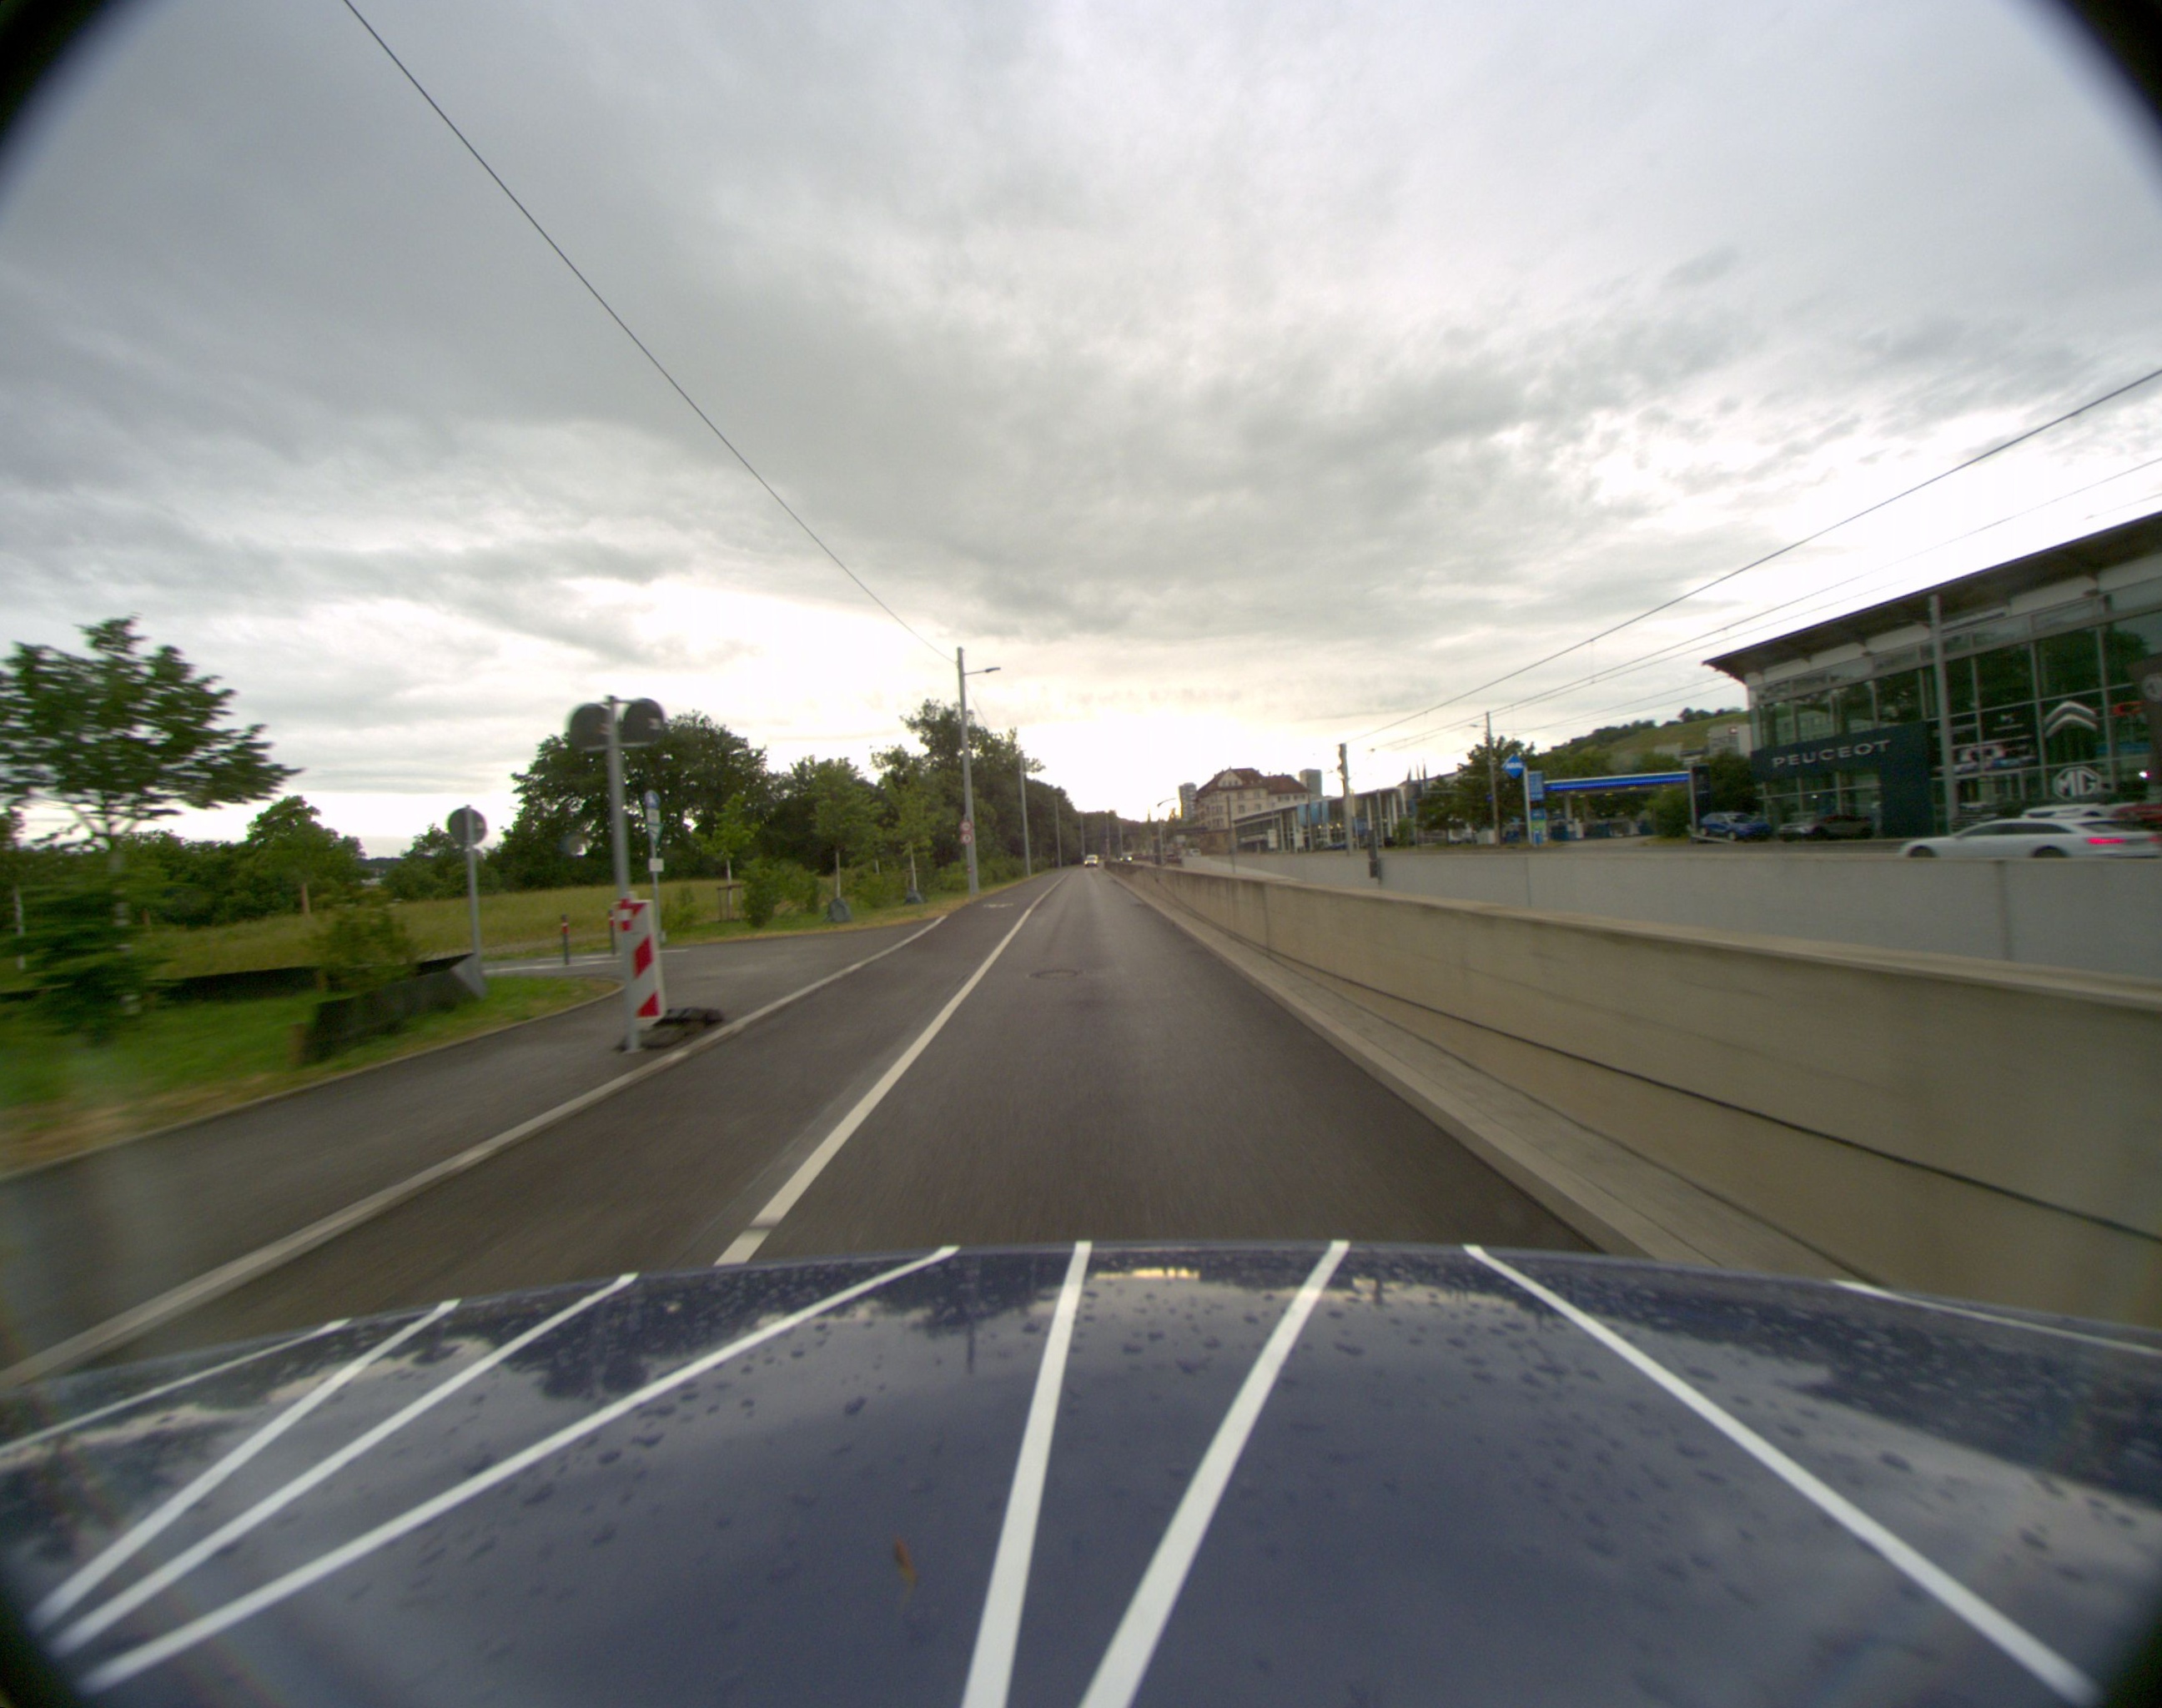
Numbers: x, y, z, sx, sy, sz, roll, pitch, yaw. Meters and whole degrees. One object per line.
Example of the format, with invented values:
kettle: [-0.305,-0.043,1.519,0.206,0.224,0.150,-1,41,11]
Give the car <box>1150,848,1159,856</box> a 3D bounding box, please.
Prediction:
car: [24.411,-0.622,252.939,2.056,2.583,6.164,-4,0,0]

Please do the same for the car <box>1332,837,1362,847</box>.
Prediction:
car: [39.807,-1.734,113.602,4.003,1.228,1.758,-4,1,-20]

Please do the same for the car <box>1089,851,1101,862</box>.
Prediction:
car: [2.056,0.373,114.295,1.710,1.585,4.000,-4,0,1]

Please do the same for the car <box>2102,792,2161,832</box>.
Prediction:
car: [40.508,-1.584,28.093,3.490,1.374,1.618,-2,0,-3]

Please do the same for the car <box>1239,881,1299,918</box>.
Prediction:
car: [9.566,2.268,38.992,1.982,1.564,4.319,-3,0,1]

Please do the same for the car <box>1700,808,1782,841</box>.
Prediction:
car: [39.295,-1.805,45.375,1.765,1.601,4.065,-3,6,8]

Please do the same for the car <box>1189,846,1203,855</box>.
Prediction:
car: [23.721,-0.800,156.478,2.006,1.685,5.035,-4,0,0]

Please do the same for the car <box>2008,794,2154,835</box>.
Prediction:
car: [40.091,-1.559,30.521,3.489,1.389,1.750,-3,0,1]

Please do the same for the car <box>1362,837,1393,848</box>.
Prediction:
car: [39.681,-1.565,101.787,3.523,1.267,1.717,-4,0,5]

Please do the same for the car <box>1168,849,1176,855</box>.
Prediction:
car: [26.728,-0.612,224.188,1.746,1.506,4.340,-3,0,0]

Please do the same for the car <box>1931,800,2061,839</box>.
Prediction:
car: [39.692,-1.475,33.018,3.489,1.465,1.750,-3,0,1]

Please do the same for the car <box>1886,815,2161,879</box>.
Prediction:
car: [26.323,-0.168,21.397,1.915,1.506,4.949,-3,0,-2]

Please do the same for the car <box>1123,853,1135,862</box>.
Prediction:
car: [8.515,0.551,134.891,1.710,1.521,4.000,-4,0,1]

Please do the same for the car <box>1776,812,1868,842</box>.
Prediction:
car: [39.718,-1.440,40.780,3.512,1.394,1.574,2,-1,-3]

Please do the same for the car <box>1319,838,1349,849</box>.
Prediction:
car: [38.688,-1.581,116.227,4.003,1.227,1.701,-4,-2,-20]

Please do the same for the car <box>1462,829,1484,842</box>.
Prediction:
car: [51.823,-2.484,100.528,1.385,1.563,2.801,-4,0,-1]
